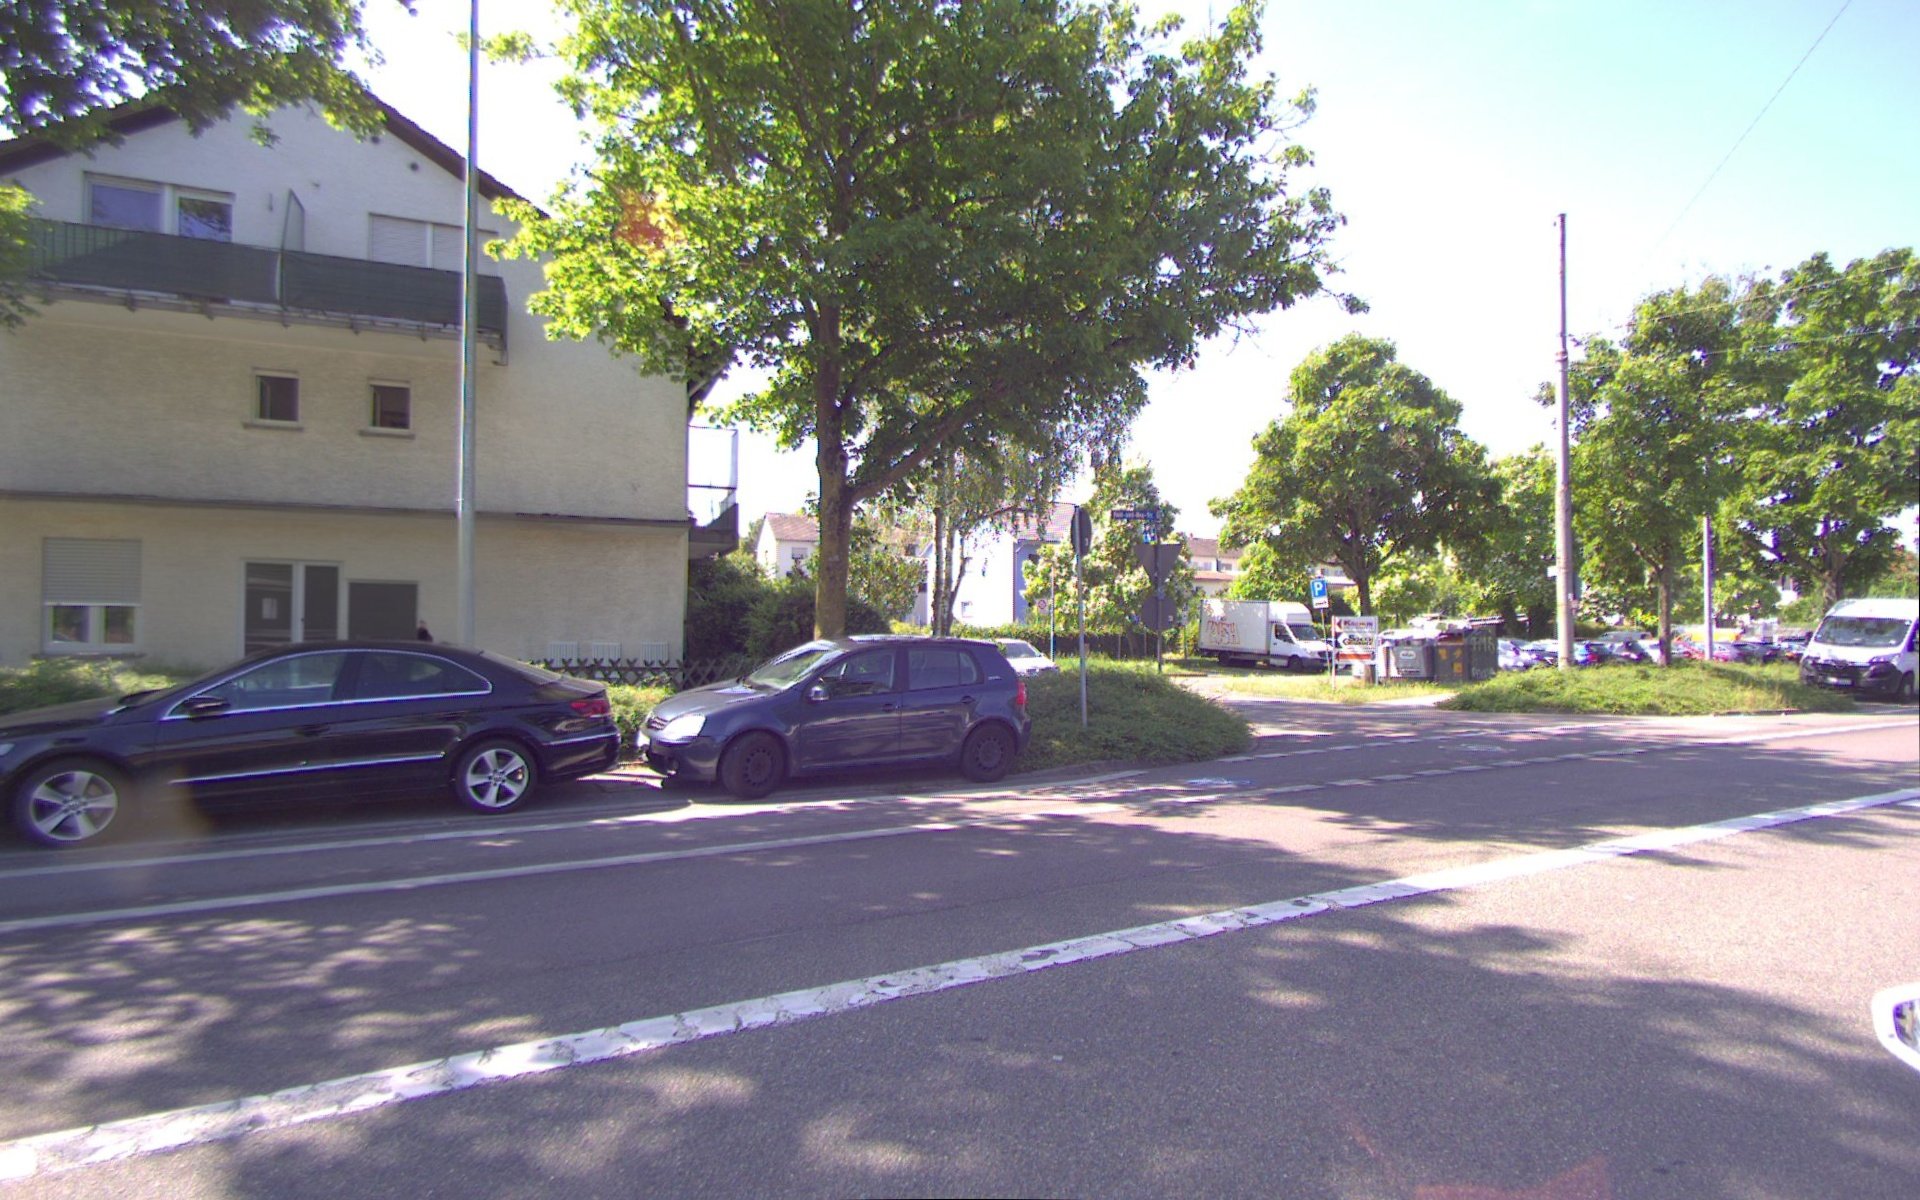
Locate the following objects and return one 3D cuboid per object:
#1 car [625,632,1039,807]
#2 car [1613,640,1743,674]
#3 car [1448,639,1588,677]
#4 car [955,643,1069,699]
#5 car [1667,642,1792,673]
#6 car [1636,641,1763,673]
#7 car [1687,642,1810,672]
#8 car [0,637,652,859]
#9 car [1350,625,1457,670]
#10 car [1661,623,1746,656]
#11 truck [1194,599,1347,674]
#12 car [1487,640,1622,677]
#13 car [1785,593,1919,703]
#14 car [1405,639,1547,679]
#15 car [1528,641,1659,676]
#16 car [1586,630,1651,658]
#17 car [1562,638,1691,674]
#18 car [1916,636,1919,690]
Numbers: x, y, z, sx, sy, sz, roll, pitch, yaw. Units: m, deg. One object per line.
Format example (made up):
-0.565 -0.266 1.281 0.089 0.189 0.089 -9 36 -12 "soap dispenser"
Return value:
-1.287 1.117 10.487 3.956 1.470 1.634 2 0 -29 "car"
29.057 2.263 40.768 1.748 1.281 3.973 1 -2 -27 "car"
19.518 2.003 35.277 1.751 1.241 3.967 1 -2 -31 "car"
1.384 1.951 28.424 1.687 1.437 3.979 1 -2 -23 "car"
33.340 2.457 43.616 1.748 1.241 3.973 1 -2 -27 "car"
31.109 2.364 42.354 1.748 1.241 3.973 1 -2 -27 "car"
35.219 2.525 44.960 1.748 1.241 3.973 1 -2 -27 "car"
-5.163 1.042 8.336 4.727 1.398 1.682 1 0 -31 "car"
22.880 2.442 51.973 1.980 2.040 4.663 2 0 -34 "car"
50.667 2.653 68.498 1.981 2.040 4.228 2 0 -35 "car"
14.257 1.595 46.756 2.206 3.059 7.103 1 1 -31 "truck"
21.775 2.107 36.946 1.748 1.241 3.973 1 -2 -27 "car"
24.028 1.163 25.833 6.227 2.534 2.050 1 1 -28 "car"
17.400 1.950 34.044 1.751 1.241 3.967 1 -2 -31 "car"
24.380 2.219 38.820 1.748 1.241 3.973 1 -2 -27 "car"
44.898 2.994 68.525 1.535 1.901 3.406 1 -2 -31 "car"
26.615 2.198 40.252 1.748 1.368 3.973 1 -2 -27 "car"
29.310 1.796 28.691 4.148 1.536 1.835 1 -2 -30 "car"
